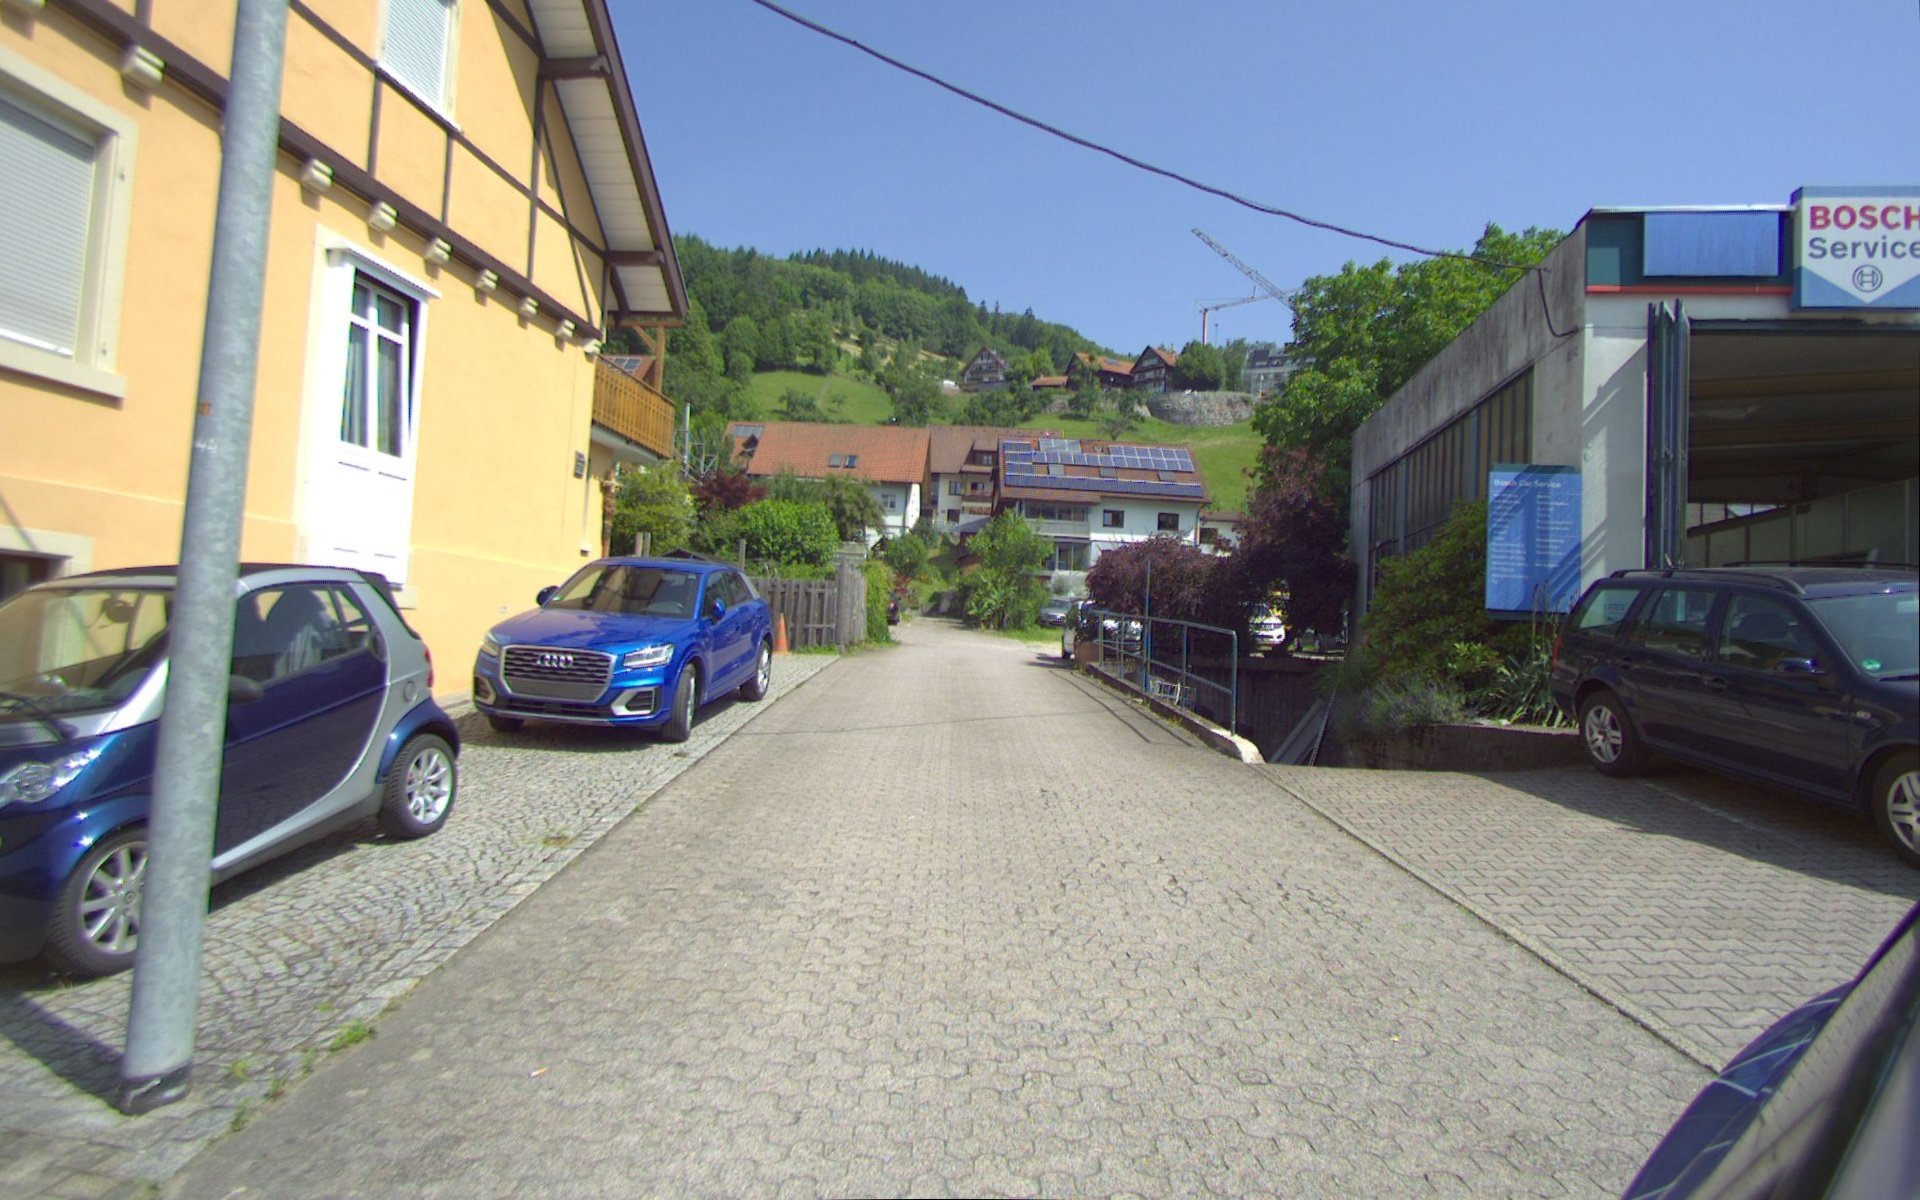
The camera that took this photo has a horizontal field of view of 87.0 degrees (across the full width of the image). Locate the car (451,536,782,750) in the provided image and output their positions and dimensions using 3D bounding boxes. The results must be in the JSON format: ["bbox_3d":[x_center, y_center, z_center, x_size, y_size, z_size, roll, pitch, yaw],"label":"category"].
[{"bbox_3d":[-3.046,0.313,9.890,1.703,1.646,3.931,1,0,3],"label":"car"}]

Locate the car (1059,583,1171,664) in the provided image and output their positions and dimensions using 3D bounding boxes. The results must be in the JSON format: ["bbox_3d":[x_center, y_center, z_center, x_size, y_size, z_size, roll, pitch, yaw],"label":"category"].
[{"bbox_3d":[3.426,0.468,23.264,1.963,1.665,4.875,0,0,2],"label":"car"}]

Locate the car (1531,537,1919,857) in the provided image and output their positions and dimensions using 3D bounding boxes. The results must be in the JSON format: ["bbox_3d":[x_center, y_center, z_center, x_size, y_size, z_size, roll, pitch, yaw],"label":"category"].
[{"bbox_3d":[5.562,0.445,6.091,1.766,1.564,4.331,-1,1,0],"label":"car"}]

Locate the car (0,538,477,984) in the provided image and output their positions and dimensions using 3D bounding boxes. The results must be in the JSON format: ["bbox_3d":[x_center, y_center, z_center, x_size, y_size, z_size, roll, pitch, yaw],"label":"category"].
[{"bbox_3d":[-3.757,0.496,4.887,1.400,1.554,2.660,-1,3,5],"label":"car"}]

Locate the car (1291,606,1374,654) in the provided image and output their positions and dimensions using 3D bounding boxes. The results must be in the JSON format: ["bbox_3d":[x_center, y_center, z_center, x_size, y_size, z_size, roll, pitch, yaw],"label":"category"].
[{"bbox_3d":[13.307,1.022,36.355,1.649,1.574,3.908,0,0,3],"label":"car"}]

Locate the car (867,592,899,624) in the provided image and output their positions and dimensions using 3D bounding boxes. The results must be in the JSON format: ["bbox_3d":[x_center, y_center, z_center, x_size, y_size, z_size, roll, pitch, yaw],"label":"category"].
[{"bbox_3d":[-3.056,0.300,40.541,1.091,1.077,2.866,4,1,-2],"label":"car"}]

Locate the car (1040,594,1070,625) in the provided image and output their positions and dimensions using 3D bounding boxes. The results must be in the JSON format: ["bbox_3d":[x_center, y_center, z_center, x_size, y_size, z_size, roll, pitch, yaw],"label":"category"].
[{"bbox_3d":[4.549,0.435,48.579,1.320,1.388,3.211,0,0,3],"label":"car"}]

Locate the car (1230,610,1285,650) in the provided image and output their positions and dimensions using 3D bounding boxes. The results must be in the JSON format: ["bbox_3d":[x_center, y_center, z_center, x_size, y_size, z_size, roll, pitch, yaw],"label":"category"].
[{"bbox_3d":[10.901,1.083,37.246,1.443,1.274,3.380,2,1,8],"label":"car"}]
